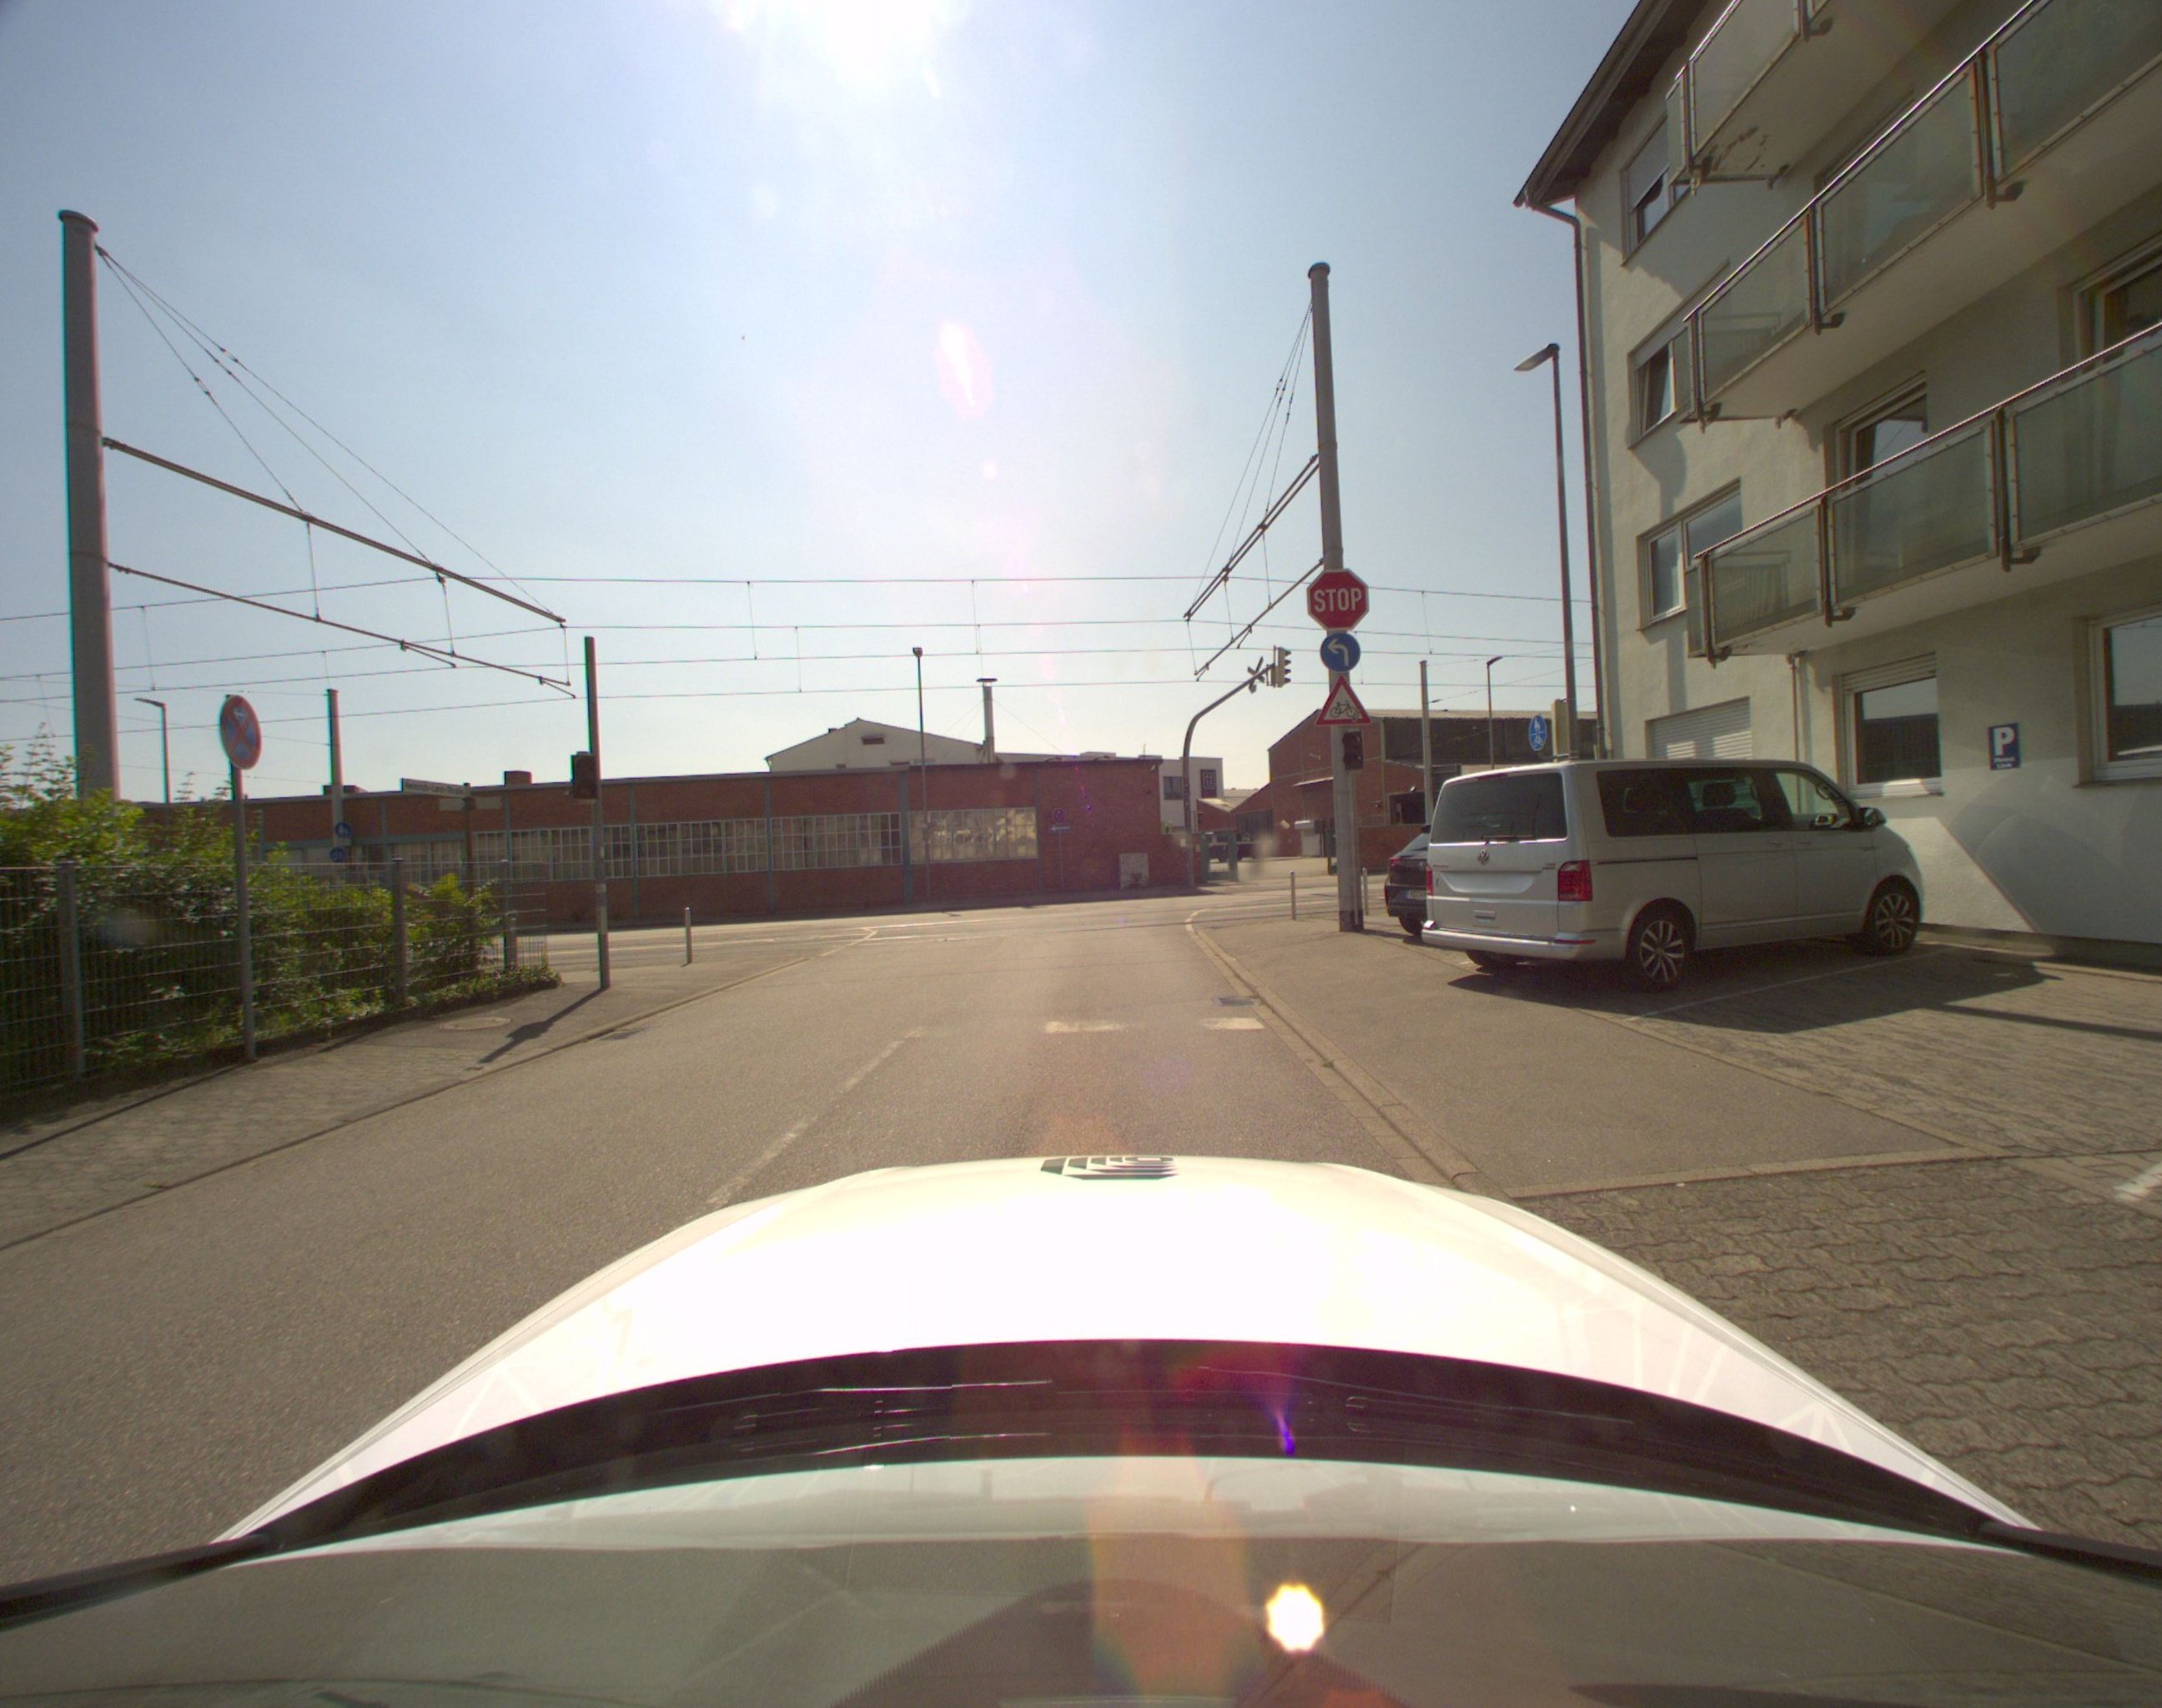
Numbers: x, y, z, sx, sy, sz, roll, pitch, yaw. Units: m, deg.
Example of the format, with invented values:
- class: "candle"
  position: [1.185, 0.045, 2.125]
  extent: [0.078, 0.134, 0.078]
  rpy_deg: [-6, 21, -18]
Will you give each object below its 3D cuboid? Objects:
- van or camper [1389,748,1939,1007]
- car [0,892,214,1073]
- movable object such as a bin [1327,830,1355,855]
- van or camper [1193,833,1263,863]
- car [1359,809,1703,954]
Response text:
- class: "van or camper"
  position: [5.566, 0.095, 7.874]
  extent: [4.555, 1.908, 1.987]
  rpy_deg: [-3, 0, -19]
- class: "car"
  position: [-11.503, 1.275, 8.020]
  extent: [3.882, 1.512, 1.805]
  rpy_deg: [-3, 0, -1]
- class: "movable object such as a bin"
  position: [14.759, -0.643, 46.293]
  extent: [0.976, 1.314, 1.146]
  rpy_deg: [-3, 0, -15]
- class: "van or camper"
  position: [9.624, -0.354, 53.268]
  extent: [4.439, 1.900, 1.979]
  rpy_deg: [0, -1, -34]
- class: "car"
  position: [5.890, 0.281, 10.688]
  extent: [3.978, 1.521, 1.866]
  rpy_deg: [-3, 0, -23]
